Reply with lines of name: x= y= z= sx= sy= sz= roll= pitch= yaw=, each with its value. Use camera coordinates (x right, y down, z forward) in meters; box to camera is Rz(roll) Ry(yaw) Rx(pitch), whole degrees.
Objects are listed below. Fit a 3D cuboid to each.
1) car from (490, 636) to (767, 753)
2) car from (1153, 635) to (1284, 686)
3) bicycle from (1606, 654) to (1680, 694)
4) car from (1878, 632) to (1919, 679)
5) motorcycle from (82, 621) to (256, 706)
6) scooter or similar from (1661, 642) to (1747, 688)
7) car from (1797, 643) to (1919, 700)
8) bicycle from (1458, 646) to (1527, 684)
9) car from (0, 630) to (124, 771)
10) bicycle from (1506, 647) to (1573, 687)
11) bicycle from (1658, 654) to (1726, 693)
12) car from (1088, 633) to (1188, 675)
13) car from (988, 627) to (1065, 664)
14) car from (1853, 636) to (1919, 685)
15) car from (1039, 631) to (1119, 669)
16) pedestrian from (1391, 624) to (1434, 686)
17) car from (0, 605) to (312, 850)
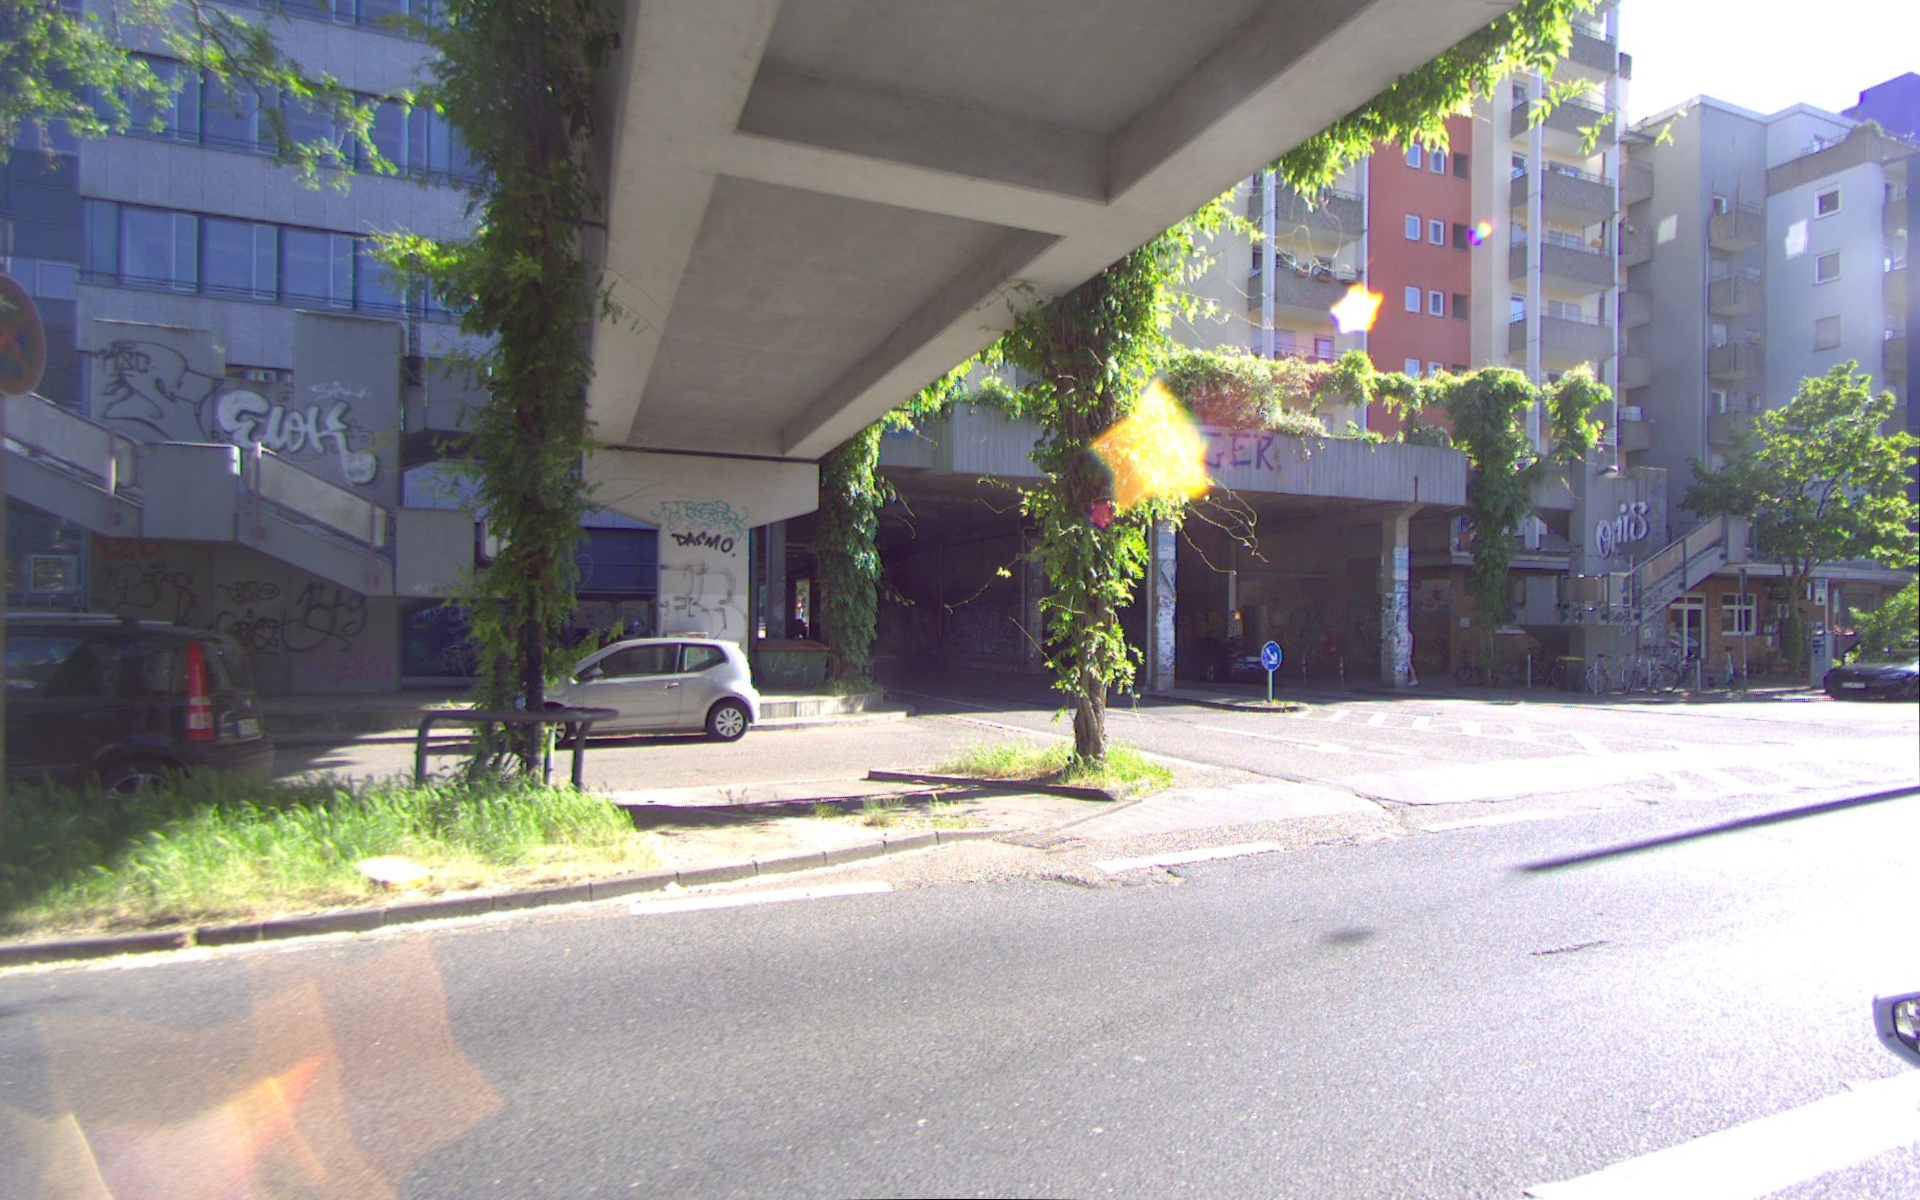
car: x=-4.741 y=1.278 z=14.484 sx=3.596 sy=1.505 sz=1.602 roll=1 pitch=-2 yaw=-23
car: x=8.211 y=1.898 z=32.374 sx=1.829 sy=1.451 sz=4.587 roll=3 pitch=-2 yaw=-20
bicycle: x=18.365 y=1.988 z=27.022 sx=1.768 sy=1.045 sz=0.415 roll=1 pitch=2 yaw=-6
car: x=34.744 y=1.944 z=34.788 sx=1.817 sy=1.629 sz=3.975 roll=1 pitch=-2 yaw=-25
motorcycle: x=-12.527 y=0.987 z=15.998 sx=2.024 sy=1.287 sz=0.728 roll=1 pitch=-1 yaw=-23
scooter or similar: x=21.968 y=1.897 z=29.699 sx=0.623 sy=1.294 sz=1.960 roll=0 pitch=-1 yaw=-26
car: x=24.777 y=1.858 z=26.728 sx=4.460 sy=1.416 sz=1.889 roll=1 pitch=-2 yaw=-20
bicycle: x=15.359 y=1.862 z=29.010 sx=0.478 sy=1.014 sz=1.788 roll=0 pitch=0 yaw=-29
car: x=-12.231 y=1.105 z=11.312 sx=3.942 sy=1.550 sz=1.729 roll=1 pitch=-2 yaw=-22
bicycle: x=16.455 y=1.888 z=28.564 sx=0.412 sy=1.014 sz=1.596 roll=-1 pitch=1 yaw=-44
bicycle: x=20.173 y=2.020 z=27.673 sx=1.771 sy=1.014 sz=0.414 roll=1 pitch=2 yaw=-13
car: x=6.502 y=1.964 z=37.101 sx=1.742 sy=1.429 sz=4.042 roll=1 pitch=-2 yaw=-22
car: x=2.959 y=2.028 z=45.600 sx=1.712 sy=1.566 sz=4.131 roll=1 pitch=-2 yaw=-25
car: x=32.581 y=2.026 z=33.415 sx=1.746 sy=1.571 sz=3.975 roll=1 pitch=-2 yaw=-25
car: x=4.881 y=2.032 z=41.543 sx=1.587 sy=1.507 sz=3.614 roll=1 pitch=-2 yaw=-26
pedestrian: x=13.031 y=1.577 z=28.962 sx=0.785 sy=1.722 sz=0.753 roll=1 pitch=1 yaw=-23
car: x=-6.936 y=0.853 z=7.017 sx=3.724 sy=1.558 sz=1.737 roll=1 pitch=-4 yaw=-22
